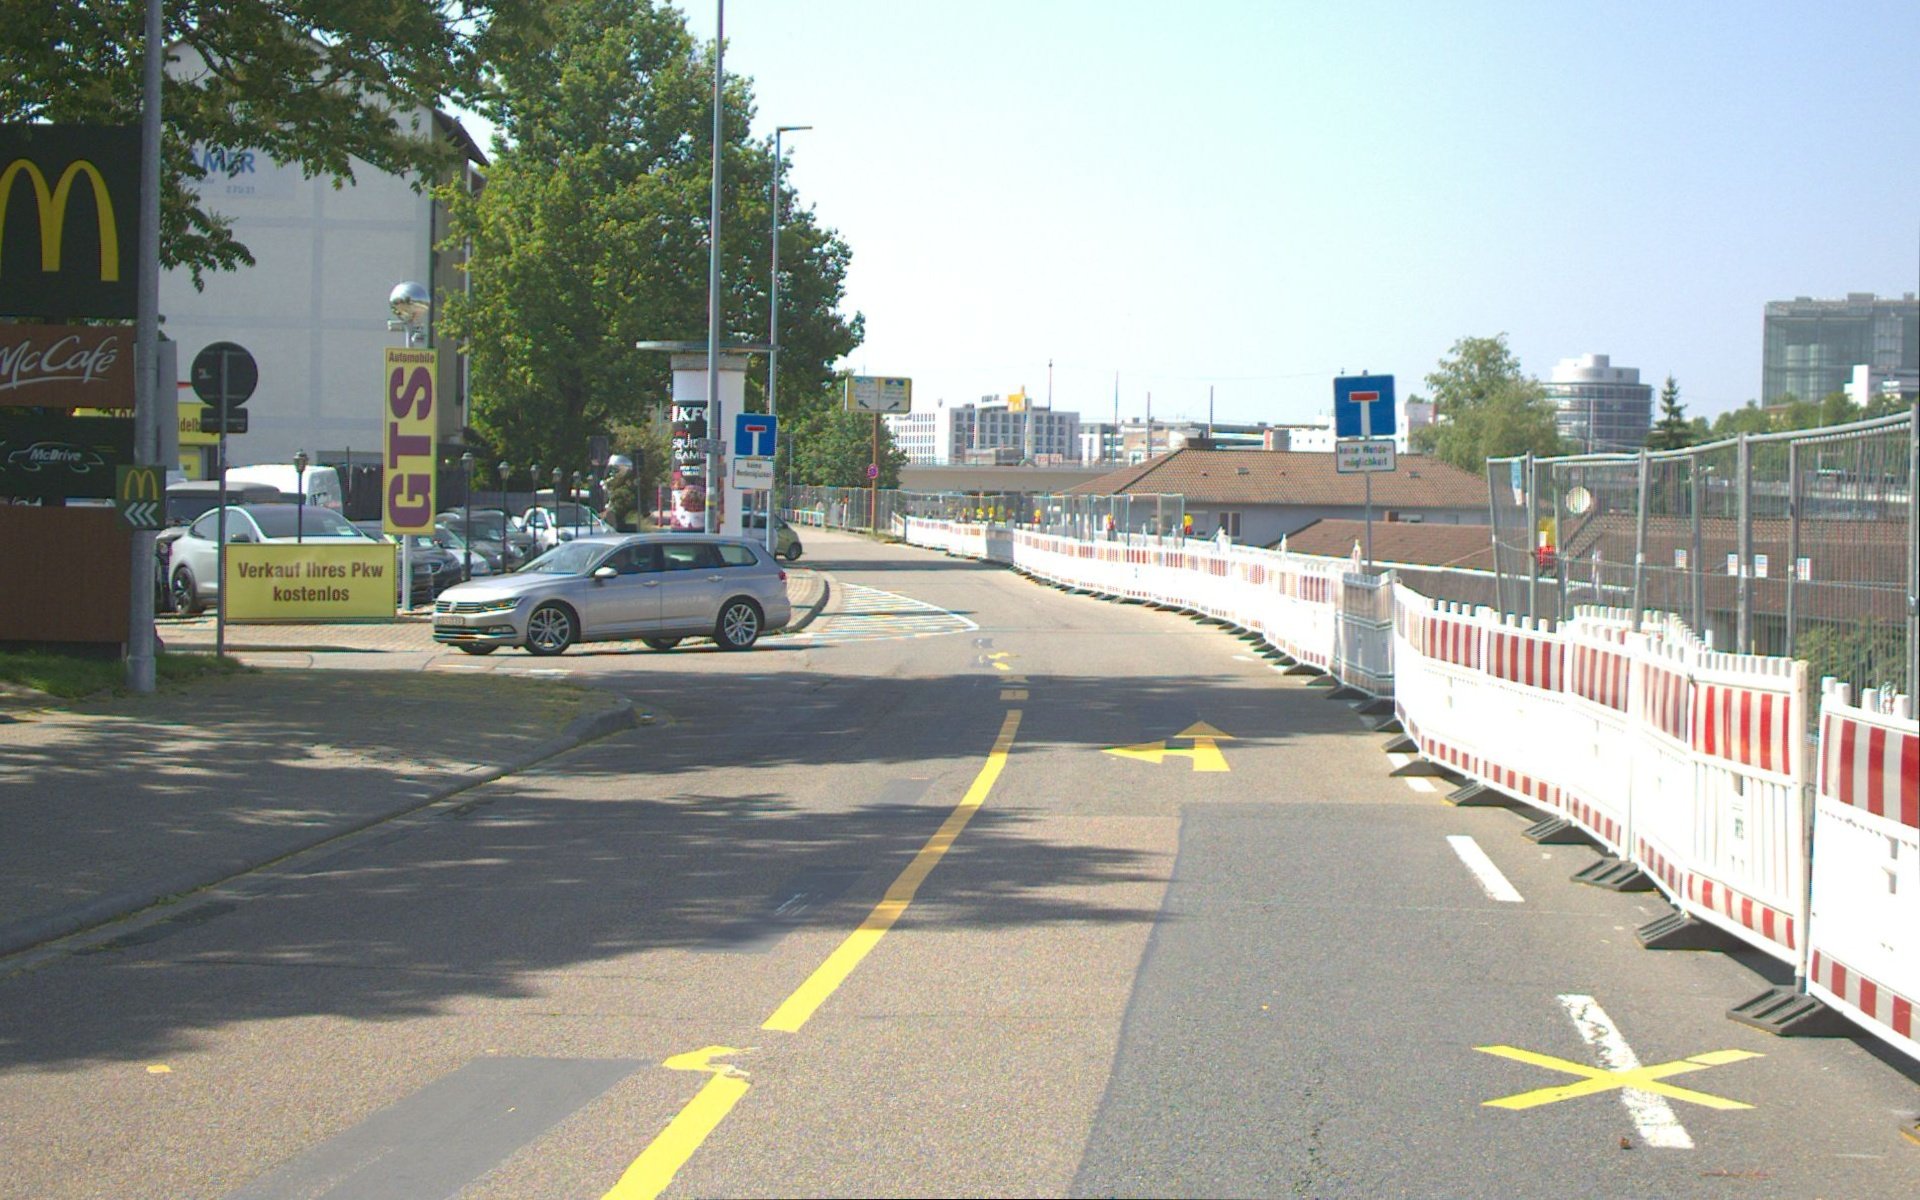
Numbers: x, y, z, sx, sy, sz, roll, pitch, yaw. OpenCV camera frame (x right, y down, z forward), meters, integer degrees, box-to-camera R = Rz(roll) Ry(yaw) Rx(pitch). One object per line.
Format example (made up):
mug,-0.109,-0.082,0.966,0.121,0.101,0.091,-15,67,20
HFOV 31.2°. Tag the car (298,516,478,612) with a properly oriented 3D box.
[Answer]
car,-9.477,-0.614,56.741,1.836,1.468,4.001,-3,2,-25

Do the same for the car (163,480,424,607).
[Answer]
car,-10.045,-0.824,51.567,1.976,1.701,4.663,-2,0,-37

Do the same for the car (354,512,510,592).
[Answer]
car,-10.408,-0.960,67.606,1.780,1.468,4.001,-3,2,-28

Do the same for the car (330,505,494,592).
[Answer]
car,-9.929,-0.956,62.081,1.836,1.468,4.001,-3,2,-25

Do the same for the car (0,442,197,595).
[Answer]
car,-16.568,-1.527,65.409,2.277,2.748,6.152,0,1,5

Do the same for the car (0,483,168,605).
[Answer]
car,-13.069,-0.800,50.295,2.042,1.701,4.316,-1,0,-25

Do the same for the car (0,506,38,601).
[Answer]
car,-17.174,-0.757,56.804,1.909,1.569,4.685,1,2,11

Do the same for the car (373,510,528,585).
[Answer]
car,-10.637,-1.103,71.621,1.667,1.468,4.000,-3,3,-33

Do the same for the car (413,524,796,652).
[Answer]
car,-4.322,-0.184,42.300,4.593,1.488,1.682,-1,2,-43

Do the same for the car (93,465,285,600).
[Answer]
car,-13.885,-1.194,62.219,2.246,2.342,4.823,0,0,2

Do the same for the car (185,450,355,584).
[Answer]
car,-13.807,-1.629,69.142,2.246,2.422,5.719,4,1,-1

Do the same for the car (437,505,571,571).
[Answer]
car,-10.747,-1.474,80.894,1.667,1.468,4.000,-3,2,-30

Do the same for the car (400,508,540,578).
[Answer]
car,-10.893,-1.274,76.238,1.667,1.468,4.000,-3,2,-30

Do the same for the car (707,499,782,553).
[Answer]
car,-6.262,-2.173,100.157,1.869,1.493,4.032,0,3,1

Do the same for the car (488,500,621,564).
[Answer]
car,-9.982,-1.680,84.453,1.776,1.468,4.000,-3,2,-30
